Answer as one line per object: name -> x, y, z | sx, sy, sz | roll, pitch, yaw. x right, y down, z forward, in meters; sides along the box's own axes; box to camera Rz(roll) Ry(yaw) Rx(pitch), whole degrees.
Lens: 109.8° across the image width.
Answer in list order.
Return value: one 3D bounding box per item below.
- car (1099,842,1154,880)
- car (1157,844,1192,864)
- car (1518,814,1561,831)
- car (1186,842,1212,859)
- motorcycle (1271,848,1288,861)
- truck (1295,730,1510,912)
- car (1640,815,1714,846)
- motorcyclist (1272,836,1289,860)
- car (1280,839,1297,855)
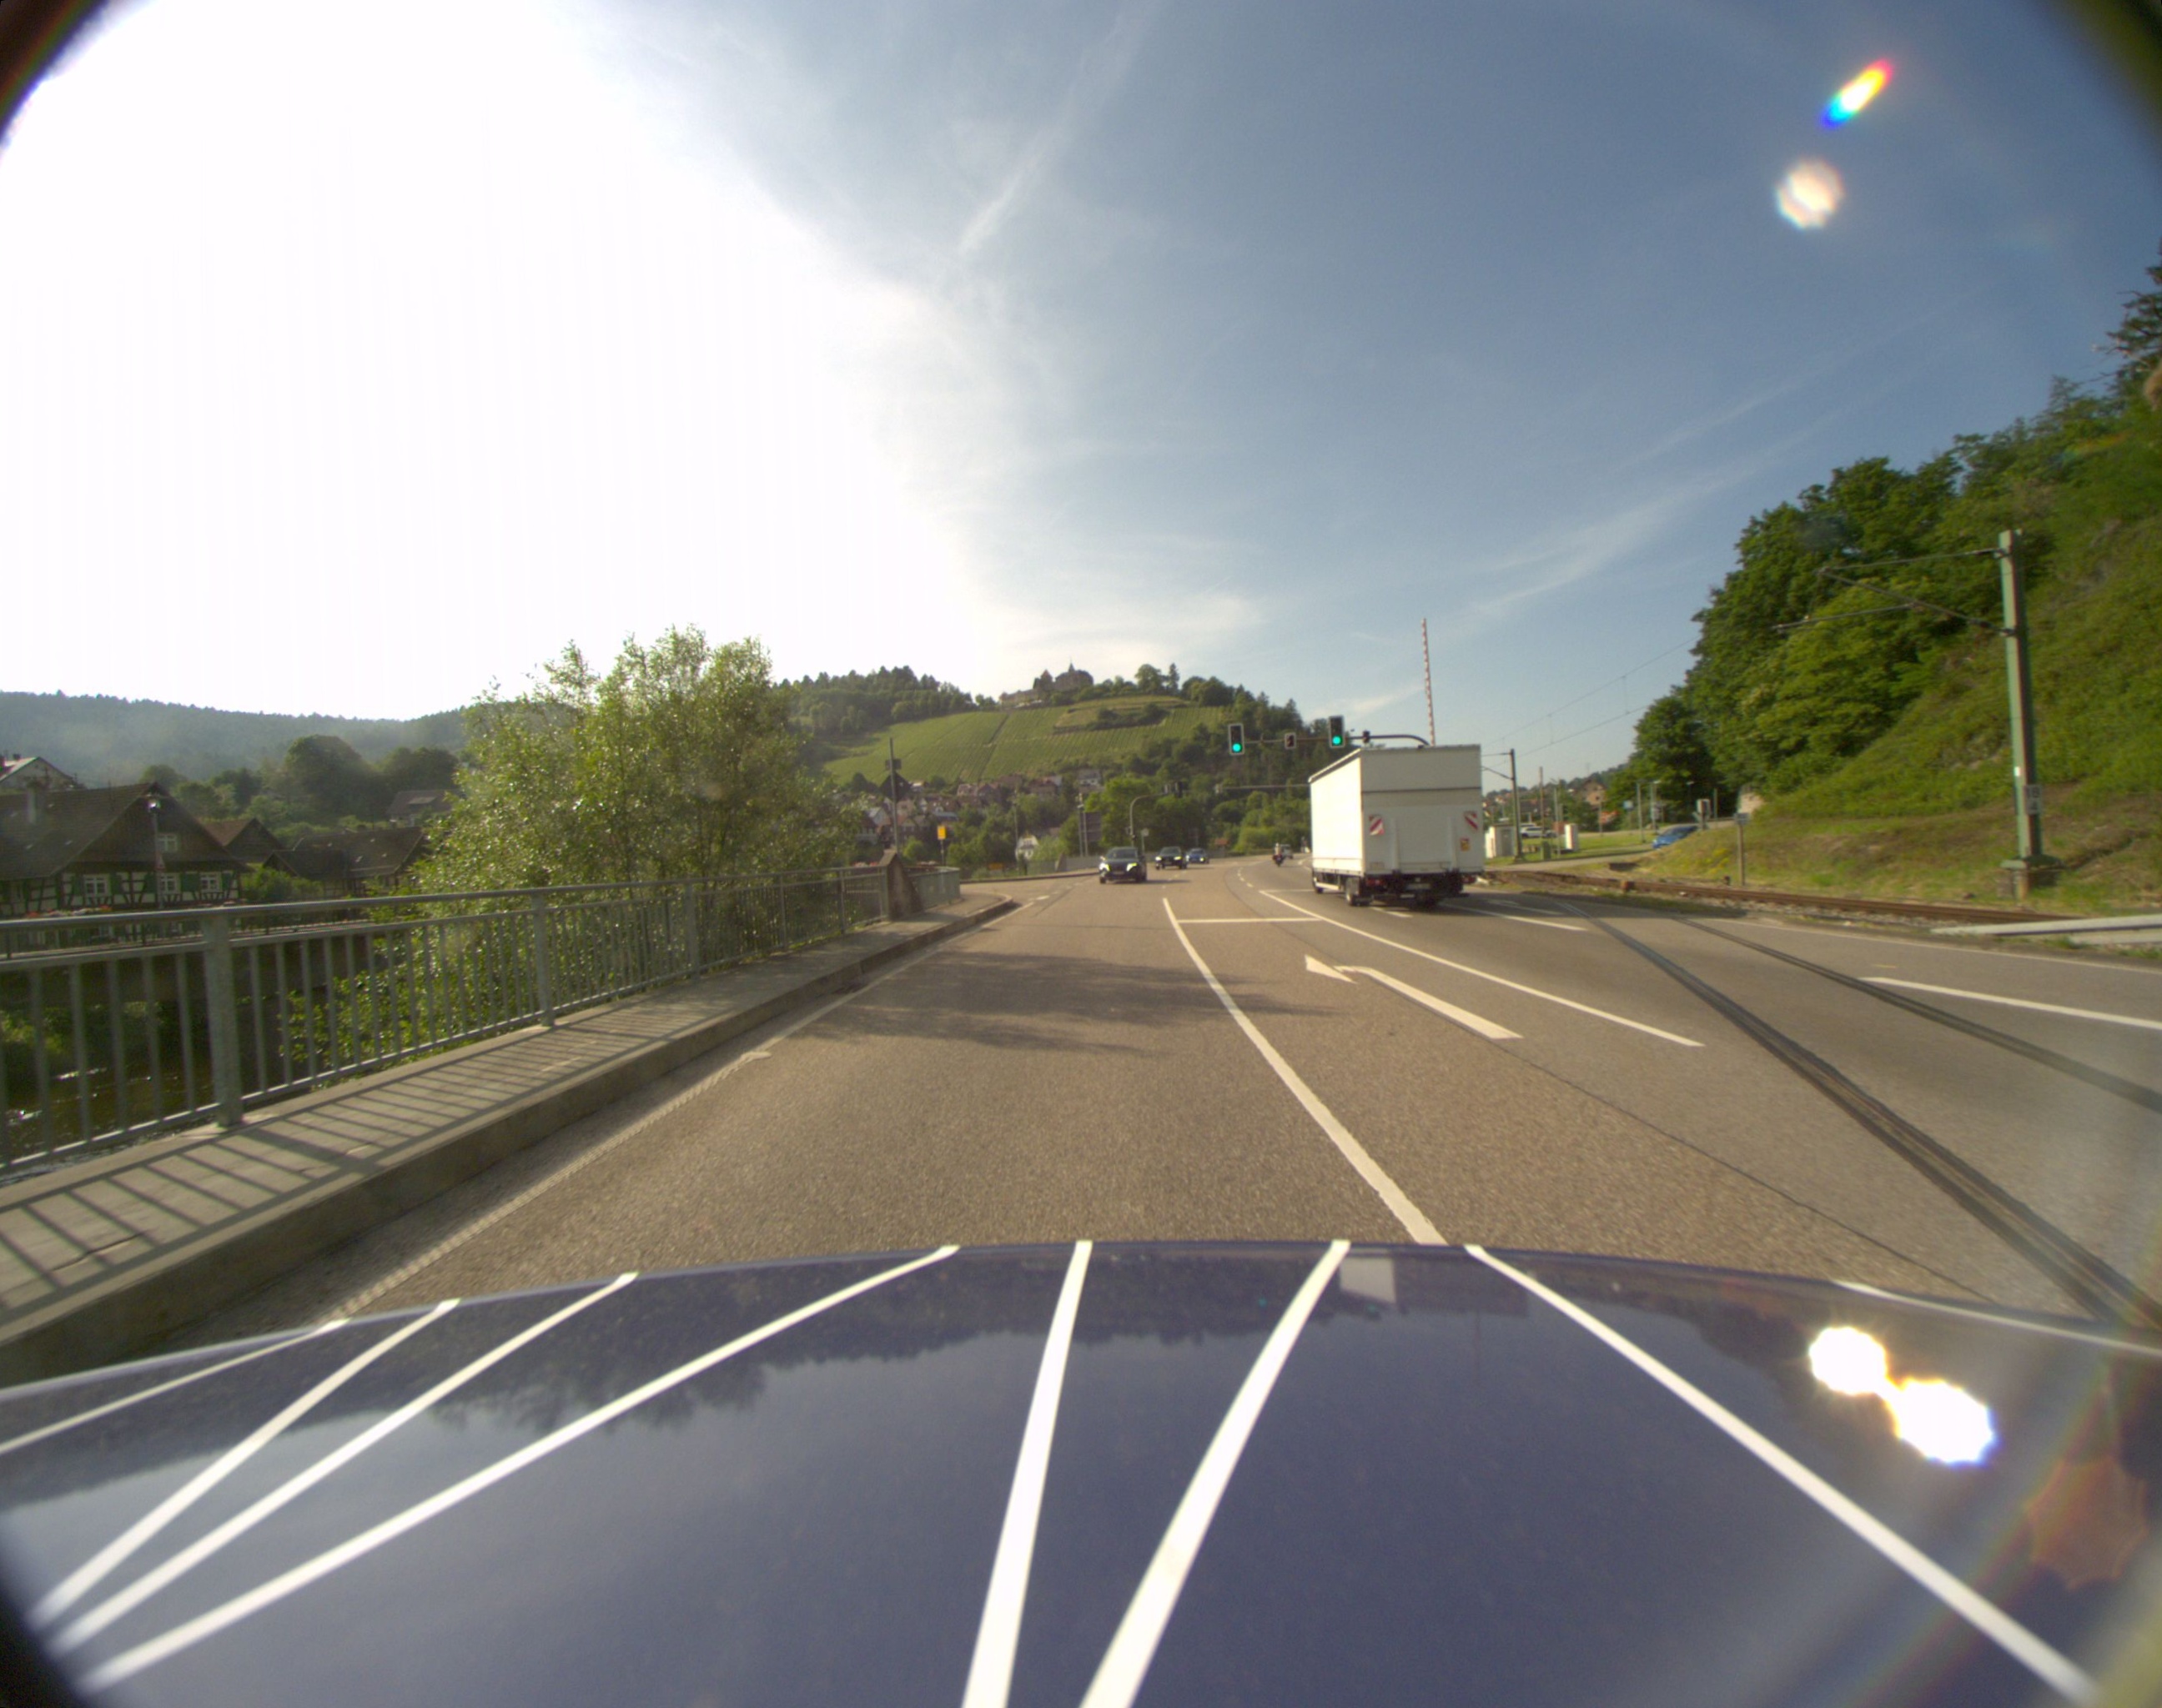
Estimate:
car -> 2.180, 0.275, 35.399 | 1.861, 1.576, 4.003 | -2, 1, 13
car -> 6.926, -0.023, 55.978 | 1.996, 1.384, 4.004 | -2, 1, 15
car -> 50.370, -3.429, 83.559 | 3.990, 1.740, 1.643 | -1, 1, 27
car -> 11.123, -0.361, 71.638 | 1.865, 1.483, 4.004 | -2, 1, 16
motorcycle -> 14.539, 0.028, 55.626 | 0.825, 0.949, 2.221 | -1, 1, 24
truck -> 8.085, -0.741, 20.618 | 2.903, 3.777, 8.897 | -2, 1, 6
car -> 36.486, -1.427, 46.500 | 4.003, 1.500, 1.890 | -7, 3, -24
motorcyclist -> 14.550, -0.447, 55.517 | 1.007, 1.705, 0.866 | -1, 1, 25
car -> 23.593, -0.765, 86.229 | 1.694, 1.647, 4.176 | -2, 0, 17
